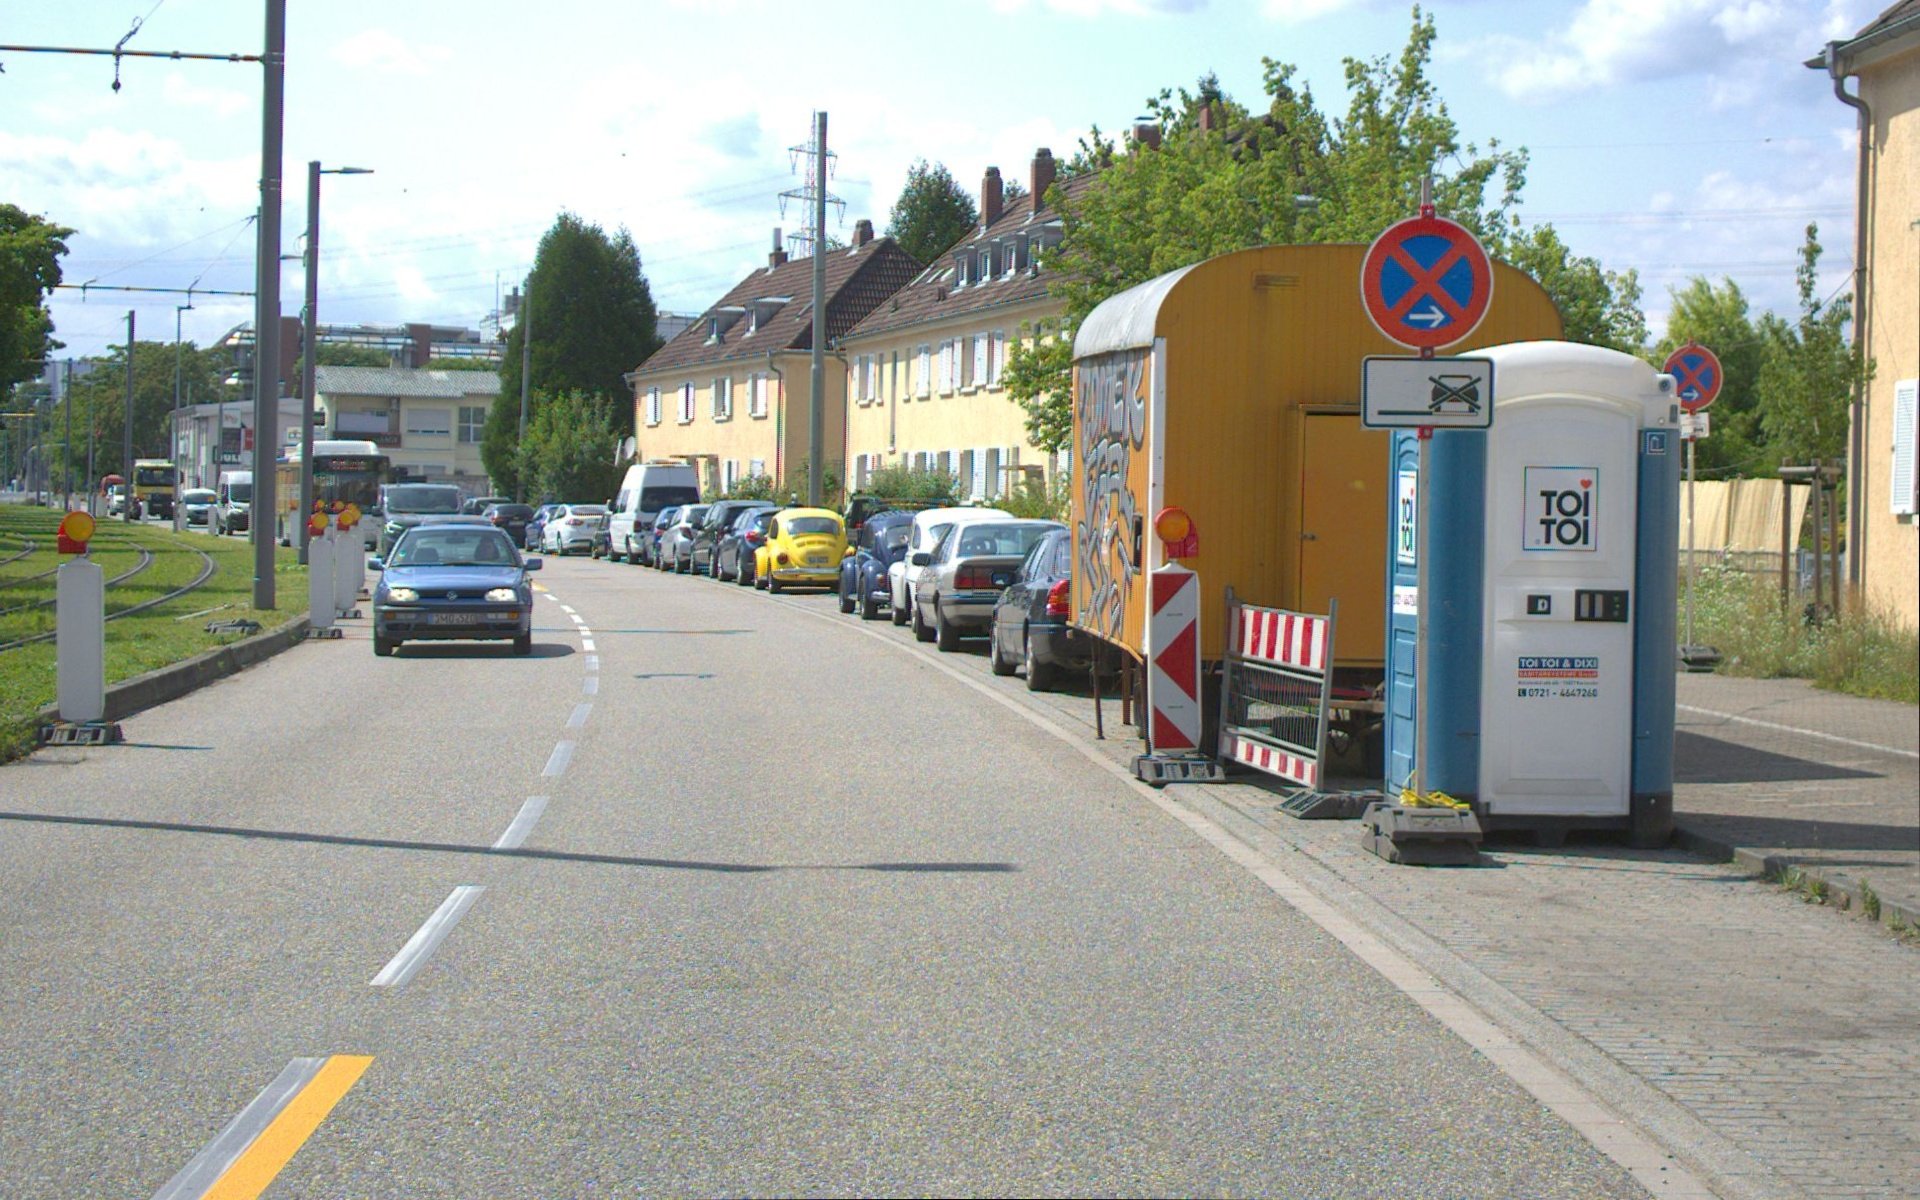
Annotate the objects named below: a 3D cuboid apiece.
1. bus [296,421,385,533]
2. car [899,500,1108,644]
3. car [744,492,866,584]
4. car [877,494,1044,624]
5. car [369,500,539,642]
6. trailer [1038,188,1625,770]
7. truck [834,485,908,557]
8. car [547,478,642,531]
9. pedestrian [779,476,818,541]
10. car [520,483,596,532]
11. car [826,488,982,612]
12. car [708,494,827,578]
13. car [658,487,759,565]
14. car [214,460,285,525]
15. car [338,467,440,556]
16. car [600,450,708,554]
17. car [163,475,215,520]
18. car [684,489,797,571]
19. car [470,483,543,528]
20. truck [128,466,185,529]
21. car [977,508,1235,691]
[{"bbox_3d":[-19.928,-3.961,110.653,2.635,3.400,12.253,0,2,-10],"label":"bus"},{"bbox_3d":[0.413,-0.363,38.088,1.706,1.444,4.836,1,2,-6],"label":"car"},{"bbox_3d":[-2.765,-1.128,60.680,1.636,1.477,3.933,-2,3,-10],"label":"car"},{"bbox_3d":[-0.044,-0.554,43.163,1.577,1.507,4.461,1,2,-6],"label":"car"},{"bbox_3d":[-5.509,-0.362,37.785,1.665,1.444,3.960,-1,2,-6],"label":"car"},{"bbox_3d":[2.164,-0.745,21.944,2.689,3.215,5.083,1,2,-5],"label":"trailer"},{"bbox_3d":[-2.173,-1.922,83.655,1.346,1.682,2.442,1,1,-12],"label":"truck"},{"bbox_3d":[-10.395,-2.690,97.447,1.798,1.453,4.767,-1,1,-17],"label":"car"},{"bbox_3d":[-4.184,-2.370,89.042,0.853,1.646,0.637,2,1,-11],"label":"pedestrian"},{"bbox_3d":[-12.039,-2.790,102.734,1.620,1.412,4.002,-1,2,-16],"label":"car"},{"bbox_3d":[-0.827,-0.737,48.246,1.548,1.635,4.248,1,2,-9],"label":"car"},{"bbox_3d":[-3.706,-1.245,65.634,1.636,1.477,4.126,1,2,-12],"label":"car"},{"bbox_3d":[-5.503,-1.627,74.901,1.636,1.597,4.031,1,2,-12],"label":"car"},{"bbox_3d":[-27.773,-4.202,134.208,2.102,2.435,5.573,1,2,-18],"label":"car"},{"bbox_3d":[-13.058,-2.045,78.823,1.955,1.959,5.294,1,2,-6],"label":"car"},{"bbox_3d":[-7.606,-2.426,84.984,1.929,2.472,5.520,0,2,-13],"label":"car"},{"bbox_3d":[-31.431,-4.189,140.067,1.734,1.767,4.310,1,2,-17],"label":"car"},{"bbox_3d":[-4.577,-1.462,71.137,1.635,1.597,3.933,1,2,-14],"label":"car"},{"bbox_3d":[-14.694,-3.084,111.323,1.763,1.412,4.002,-1,2,-16],"label":"car"},{"bbox_3d":[-45.153,-5.776,193.126,2.559,3.447,7.152,-1,2,-17],"label":"truck"},{"bbox_3d":[1.202,-0.061,30.243,1.577,1.444,4.454,1,2,-6],"label":"car"}]
